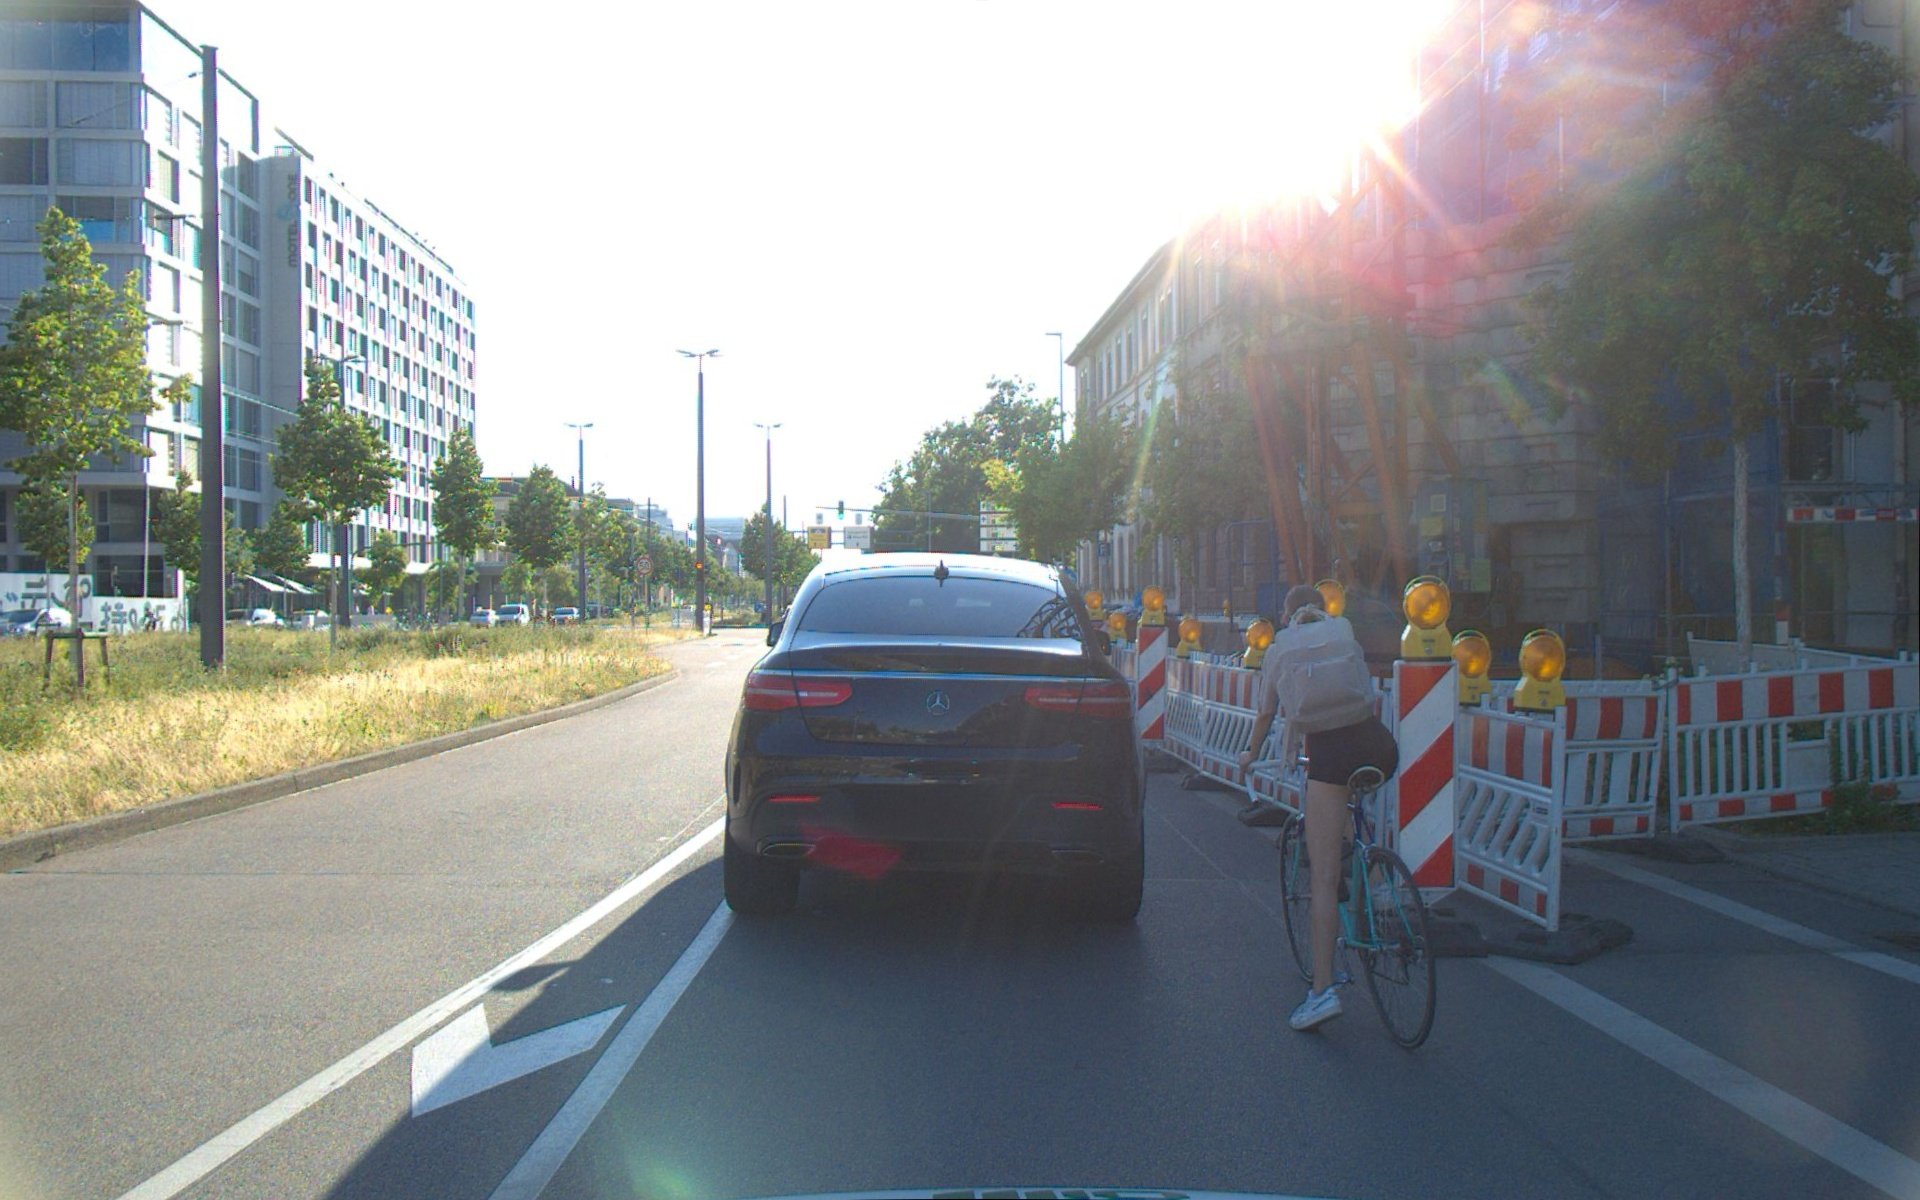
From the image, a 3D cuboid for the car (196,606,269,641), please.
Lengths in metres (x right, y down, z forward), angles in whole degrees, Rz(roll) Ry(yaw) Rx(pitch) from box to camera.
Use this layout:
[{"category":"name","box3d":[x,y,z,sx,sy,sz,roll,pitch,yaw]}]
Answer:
[{"category":"car","box3d":[-31.364,0.995,71.366,1.674,1.467,3.580,1,0,-3]}]

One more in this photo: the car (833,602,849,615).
[{"category":"car","box3d":[-13.216,0.928,184.244,1.674,1.467,3.580,1,0,-3]}]

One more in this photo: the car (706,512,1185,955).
[{"category":"car","box3d":[-0.084,0.564,8.850,1.953,1.803,3.999,1,0,-1]}]

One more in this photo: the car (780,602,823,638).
[{"category":"car","box3d":[-6.744,0.846,70.603,1.674,1.467,3.580,1,0,-3]}]

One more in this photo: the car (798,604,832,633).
[{"category":"car","box3d":[-7.735,0.967,88.561,1.674,1.467,3.580,1,0,-3]}]

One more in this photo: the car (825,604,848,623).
[{"category":"car","box3d":[-9.696,1.048,129.885,1.674,1.467,3.580,1,0,-3]}]

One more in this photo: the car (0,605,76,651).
[{"category":"car","box3d":[-31.761,0.924,56.162,1.674,1.467,3.580,1,0,-3]}]

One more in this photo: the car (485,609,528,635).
[{"category":"car","box3d":[-30.605,1.461,111.811,1.753,1.713,3.639,1,0,2]}]

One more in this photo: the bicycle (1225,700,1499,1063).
[{"category":"bicycle","box3d":[1.443,0.964,6.217,0.502,1.070,1.724,1,0,-3]}]

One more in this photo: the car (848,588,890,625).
[{"category":"car","box3d":[-3.738,0.277,67.987,1.674,1.467,3.580,1,0,-3]}]

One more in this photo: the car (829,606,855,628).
[{"category":"car","box3d":[-8.030,1.131,112.914,1.674,1.467,3.580,1,0,-3]}]

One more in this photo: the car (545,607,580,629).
[{"category":"car","box3d":[-27.423,1.247,114.258,1.674,1.467,3.580,1,0,-3]}]

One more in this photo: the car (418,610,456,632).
[{"category":"car","box3d":[-36.974,1.483,116.969,1.674,1.467,3.580,1,0,-3]}]

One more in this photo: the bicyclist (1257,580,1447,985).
[{"category":"bicyclist","box3d":[1.435,0.645,6.124,0.512,1.420,0.614,1,-1,-4]}]

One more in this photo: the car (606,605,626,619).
[{"category":"car","box3d":[-38.786,1.361,186.608,1.674,1.467,3.580,1,0,-3]}]
